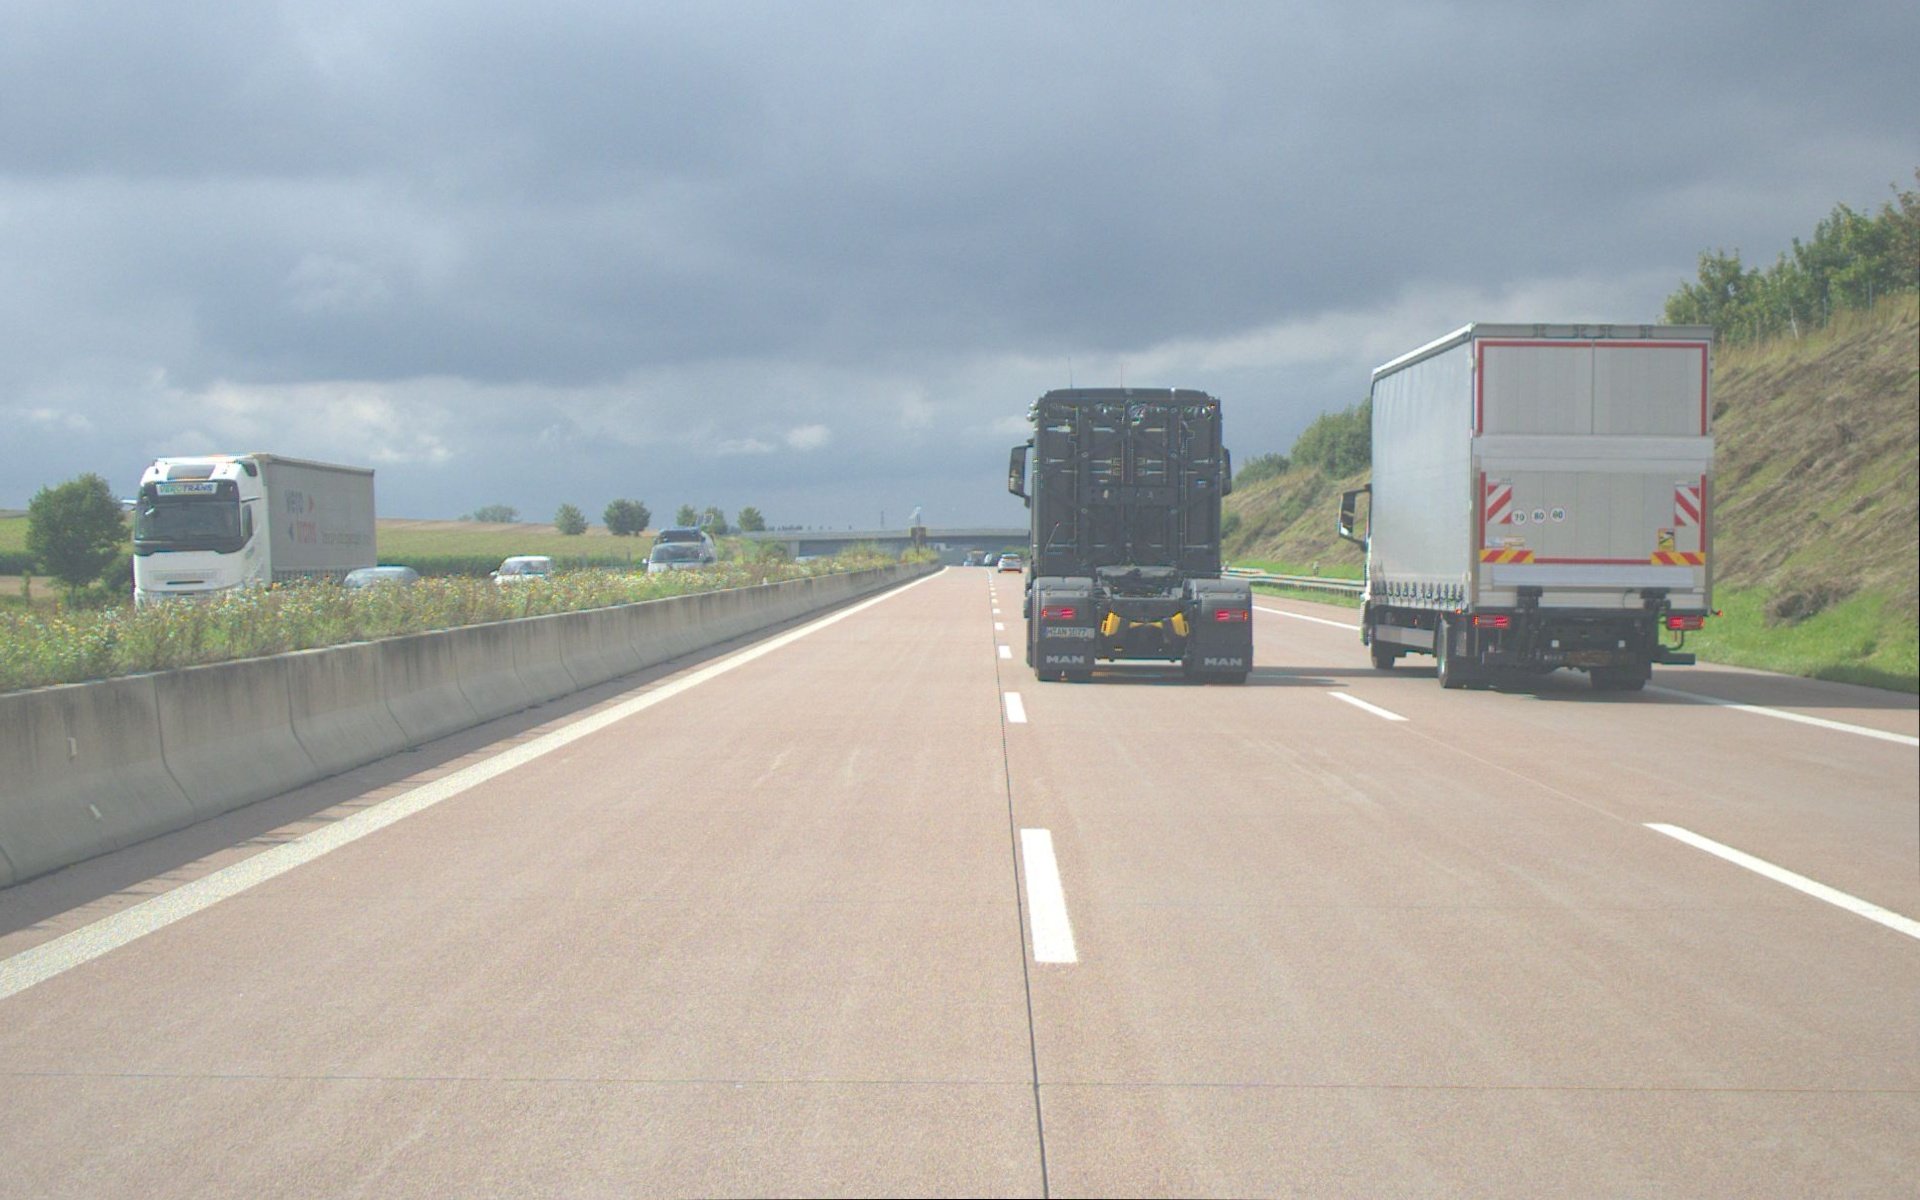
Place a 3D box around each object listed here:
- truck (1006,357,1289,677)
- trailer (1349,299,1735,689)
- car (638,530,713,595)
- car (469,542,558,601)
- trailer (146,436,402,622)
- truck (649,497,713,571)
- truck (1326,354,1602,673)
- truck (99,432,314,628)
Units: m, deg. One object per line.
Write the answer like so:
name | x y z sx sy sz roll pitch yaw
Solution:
truck | 2.150 -0.970 42.579 2.847 3.537 8.320 1 1 -1
trailer | 6.509 -1.140 39.888 2.747 3.998 8.671 1 1 -1
car | -9.191 -1.219 111.277 1.993 2.007 5.247 -2 1 -1
car | -13.029 -0.840 100.567 1.993 1.652 4.785 -2 1 -1
trailer | -16.431 -1.730 83.562 3.208 4.084 13.258 1 1 1
truck | -16.092 -3.804 198.767 2.892 4.084 6.335 -2 1 1
truck | 6.431 -1.087 44.518 2.748 3.878 4.546 1 0 -1
truck | -16.588 -1.553 76.120 3.206 4.084 6.126 1 1 1
